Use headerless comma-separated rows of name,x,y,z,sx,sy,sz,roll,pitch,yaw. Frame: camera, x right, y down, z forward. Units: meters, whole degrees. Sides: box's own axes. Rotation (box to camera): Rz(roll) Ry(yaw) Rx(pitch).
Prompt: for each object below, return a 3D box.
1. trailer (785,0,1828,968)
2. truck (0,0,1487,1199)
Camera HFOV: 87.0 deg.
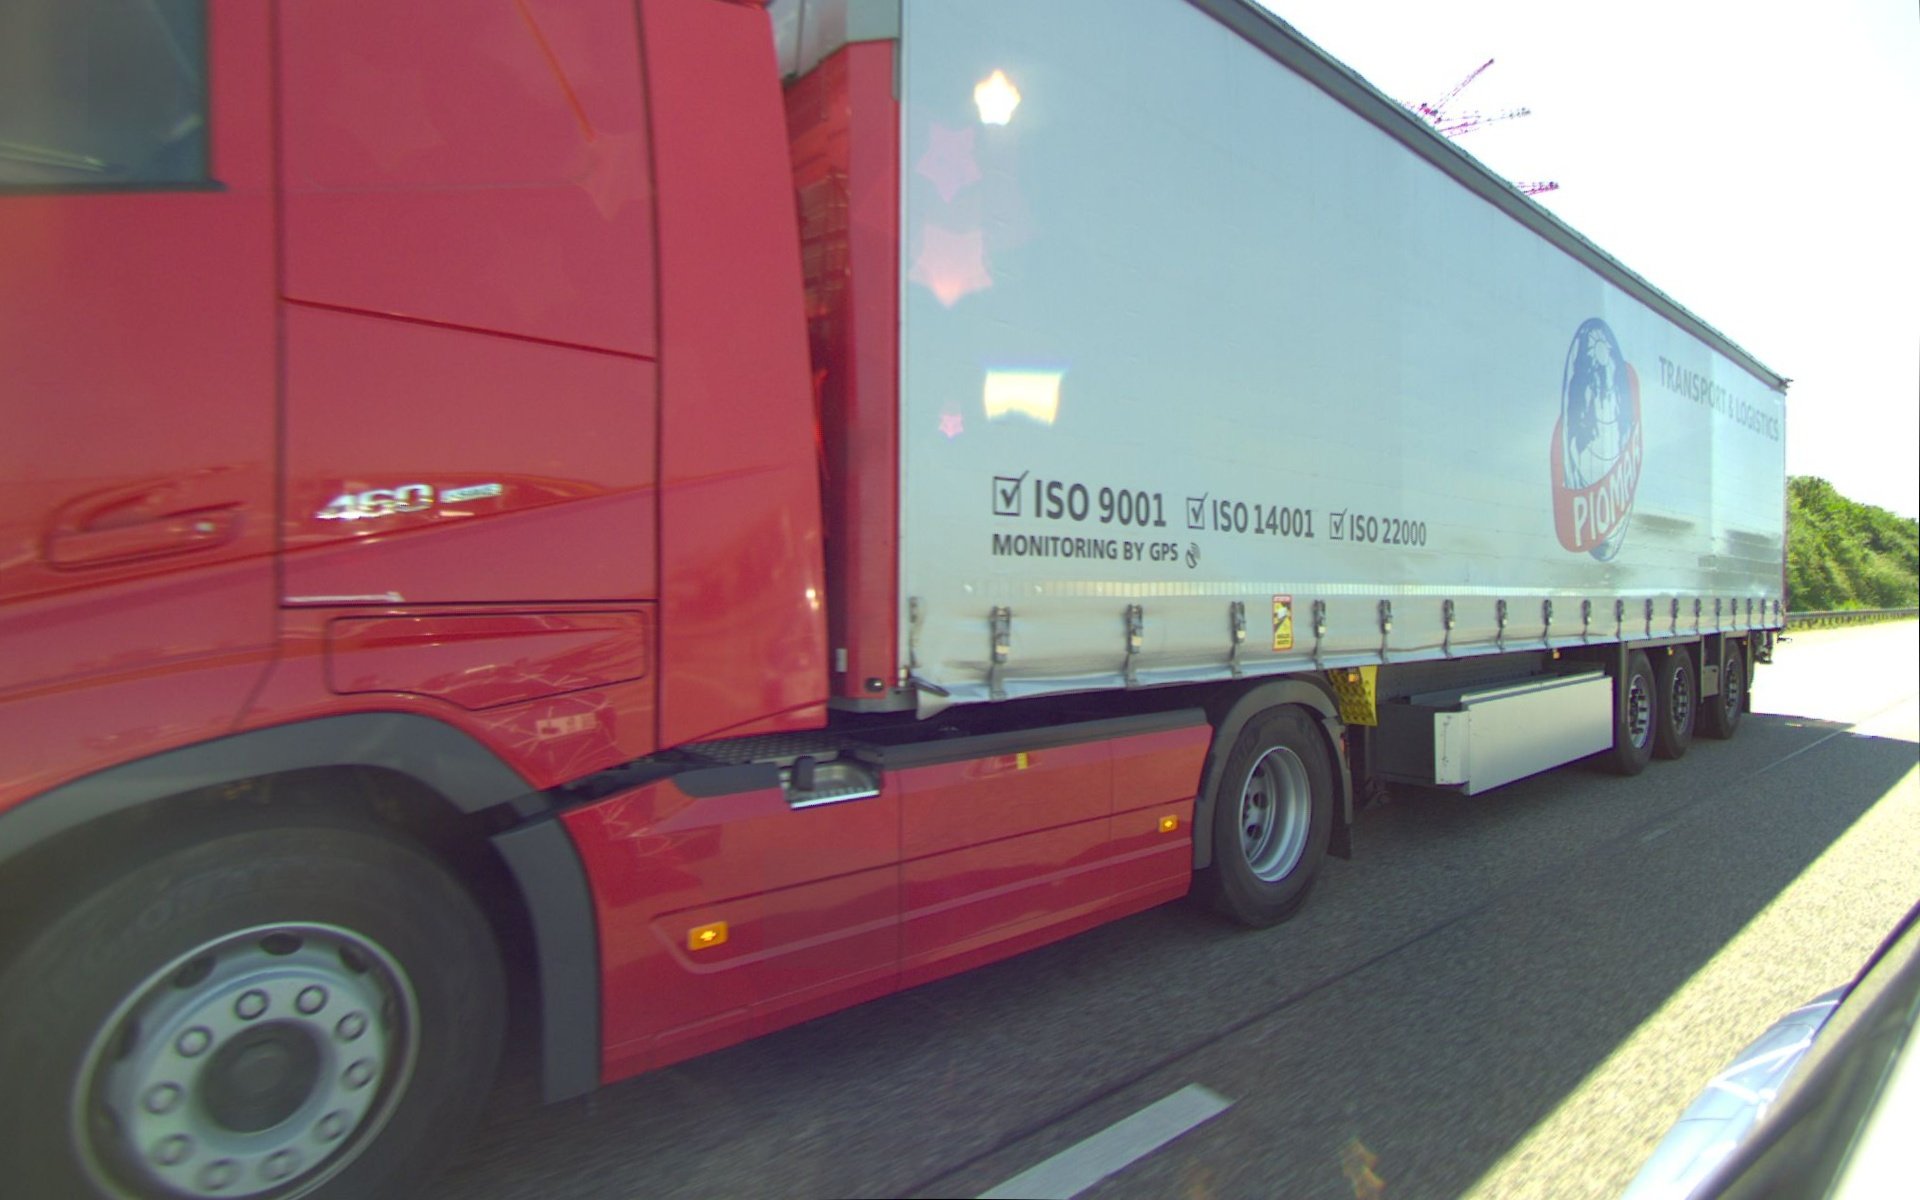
trailer,5.086,-0.694,9.308,13.998,3.958,2.494,-1,1,-41
truck,-0.393,-0.608,4.475,6.973,3.969,2.503,0,1,-41
